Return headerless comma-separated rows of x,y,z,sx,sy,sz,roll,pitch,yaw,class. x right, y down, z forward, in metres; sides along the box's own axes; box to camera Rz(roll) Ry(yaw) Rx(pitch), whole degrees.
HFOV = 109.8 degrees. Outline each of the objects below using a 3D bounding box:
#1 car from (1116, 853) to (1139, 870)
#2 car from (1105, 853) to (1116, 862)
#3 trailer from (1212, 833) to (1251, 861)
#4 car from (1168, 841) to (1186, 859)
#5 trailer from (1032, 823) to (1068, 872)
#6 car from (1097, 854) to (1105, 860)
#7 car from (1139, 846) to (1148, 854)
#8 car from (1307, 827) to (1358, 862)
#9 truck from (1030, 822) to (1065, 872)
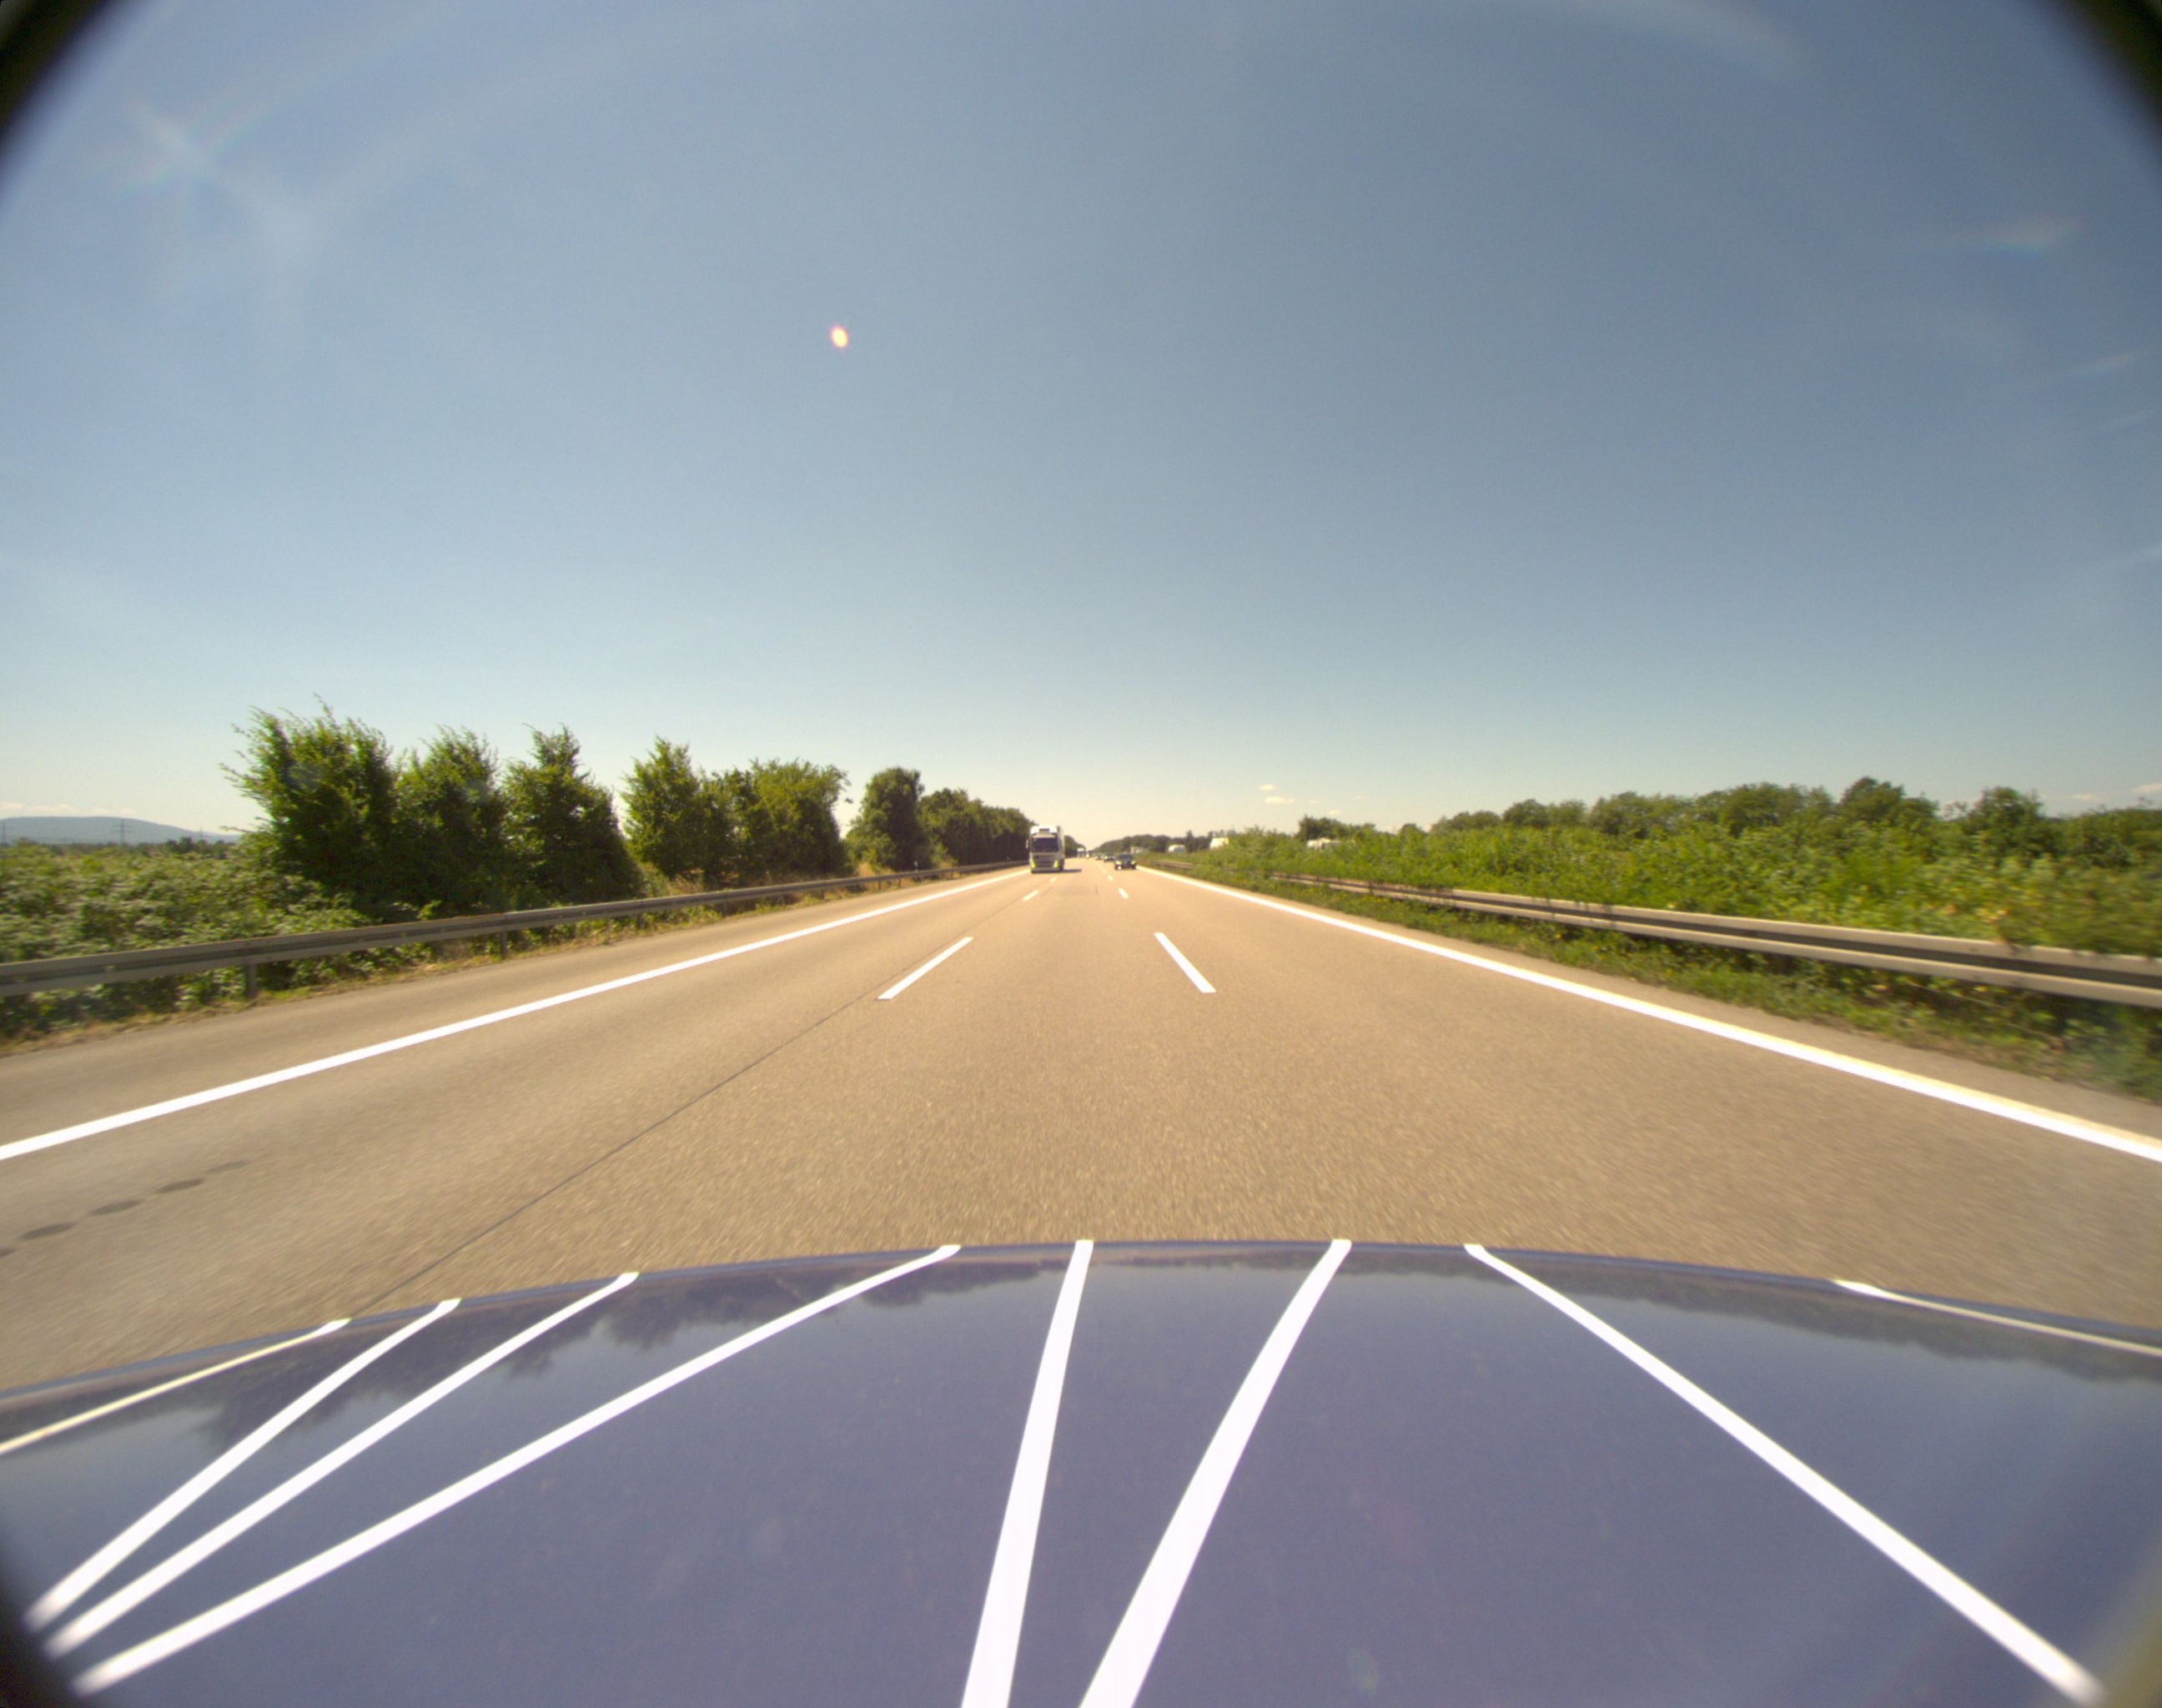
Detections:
4.176,0.659,69.013,1.811,1.459,4.000,-2,0,1,car
4.948,0.619,128.141,1.811,1.417,4.000,-2,0,1,car
22.066,-1.024,112.090,2.941,3.847,13.909,-2,0,1,trailer
13.617,-0.565,108.158,1.811,2.486,6.778,-2,0,1,car
-2.767,-0.614,71.949,2.476,4.038,13.880,-2,0,1,trailer
4.598,0.713,176.445,1.811,1.417,4.000,-2,0,1,car
18.999,-1.298,232.019,2.085,2.380,6.732,-2,0,0,car
20.984,-0.750,63.713,2.476,2.693,5.519,-2,0,1,car
-2.863,-0.577,65.978,2.476,4.038,6.320,-2,1,1,truck
